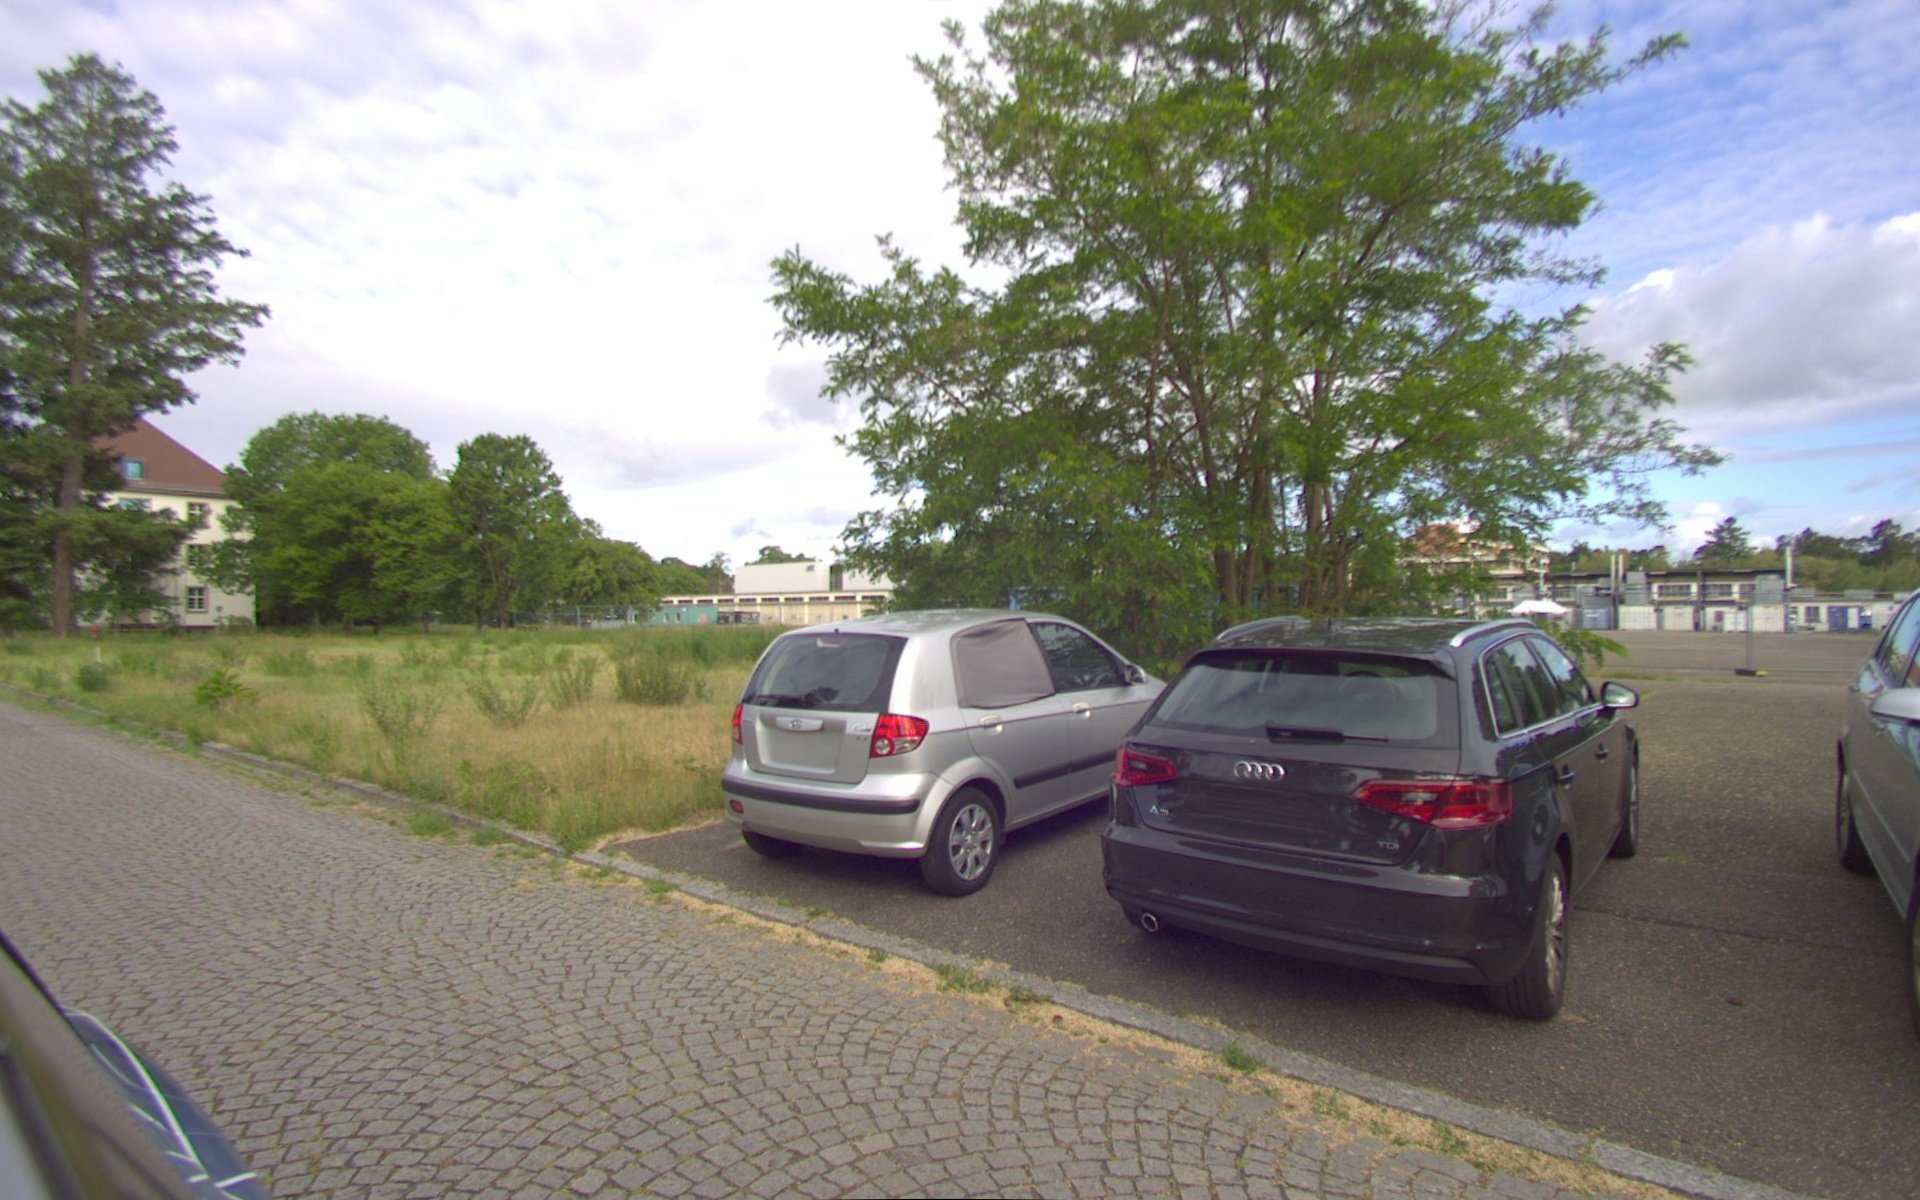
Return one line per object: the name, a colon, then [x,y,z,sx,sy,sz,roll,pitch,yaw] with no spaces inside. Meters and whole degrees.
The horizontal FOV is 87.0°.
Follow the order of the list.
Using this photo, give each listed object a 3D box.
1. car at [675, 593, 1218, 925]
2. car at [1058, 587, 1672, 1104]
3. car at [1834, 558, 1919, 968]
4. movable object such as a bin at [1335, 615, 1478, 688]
car: [0.168,0.755,6.776,1.805,1.463,3.646,-1,1,36]
car: [2.328,0.718,5.074,1.749,1.438,3.948,-1,1,39]
car: [4.572,0.597,3.680,1.721,1.559,3.952,-1,1,36]
movable object such as a bin: [7.760,0.842,17.555,2.364,1.170,1.501,1,-2,-44]
